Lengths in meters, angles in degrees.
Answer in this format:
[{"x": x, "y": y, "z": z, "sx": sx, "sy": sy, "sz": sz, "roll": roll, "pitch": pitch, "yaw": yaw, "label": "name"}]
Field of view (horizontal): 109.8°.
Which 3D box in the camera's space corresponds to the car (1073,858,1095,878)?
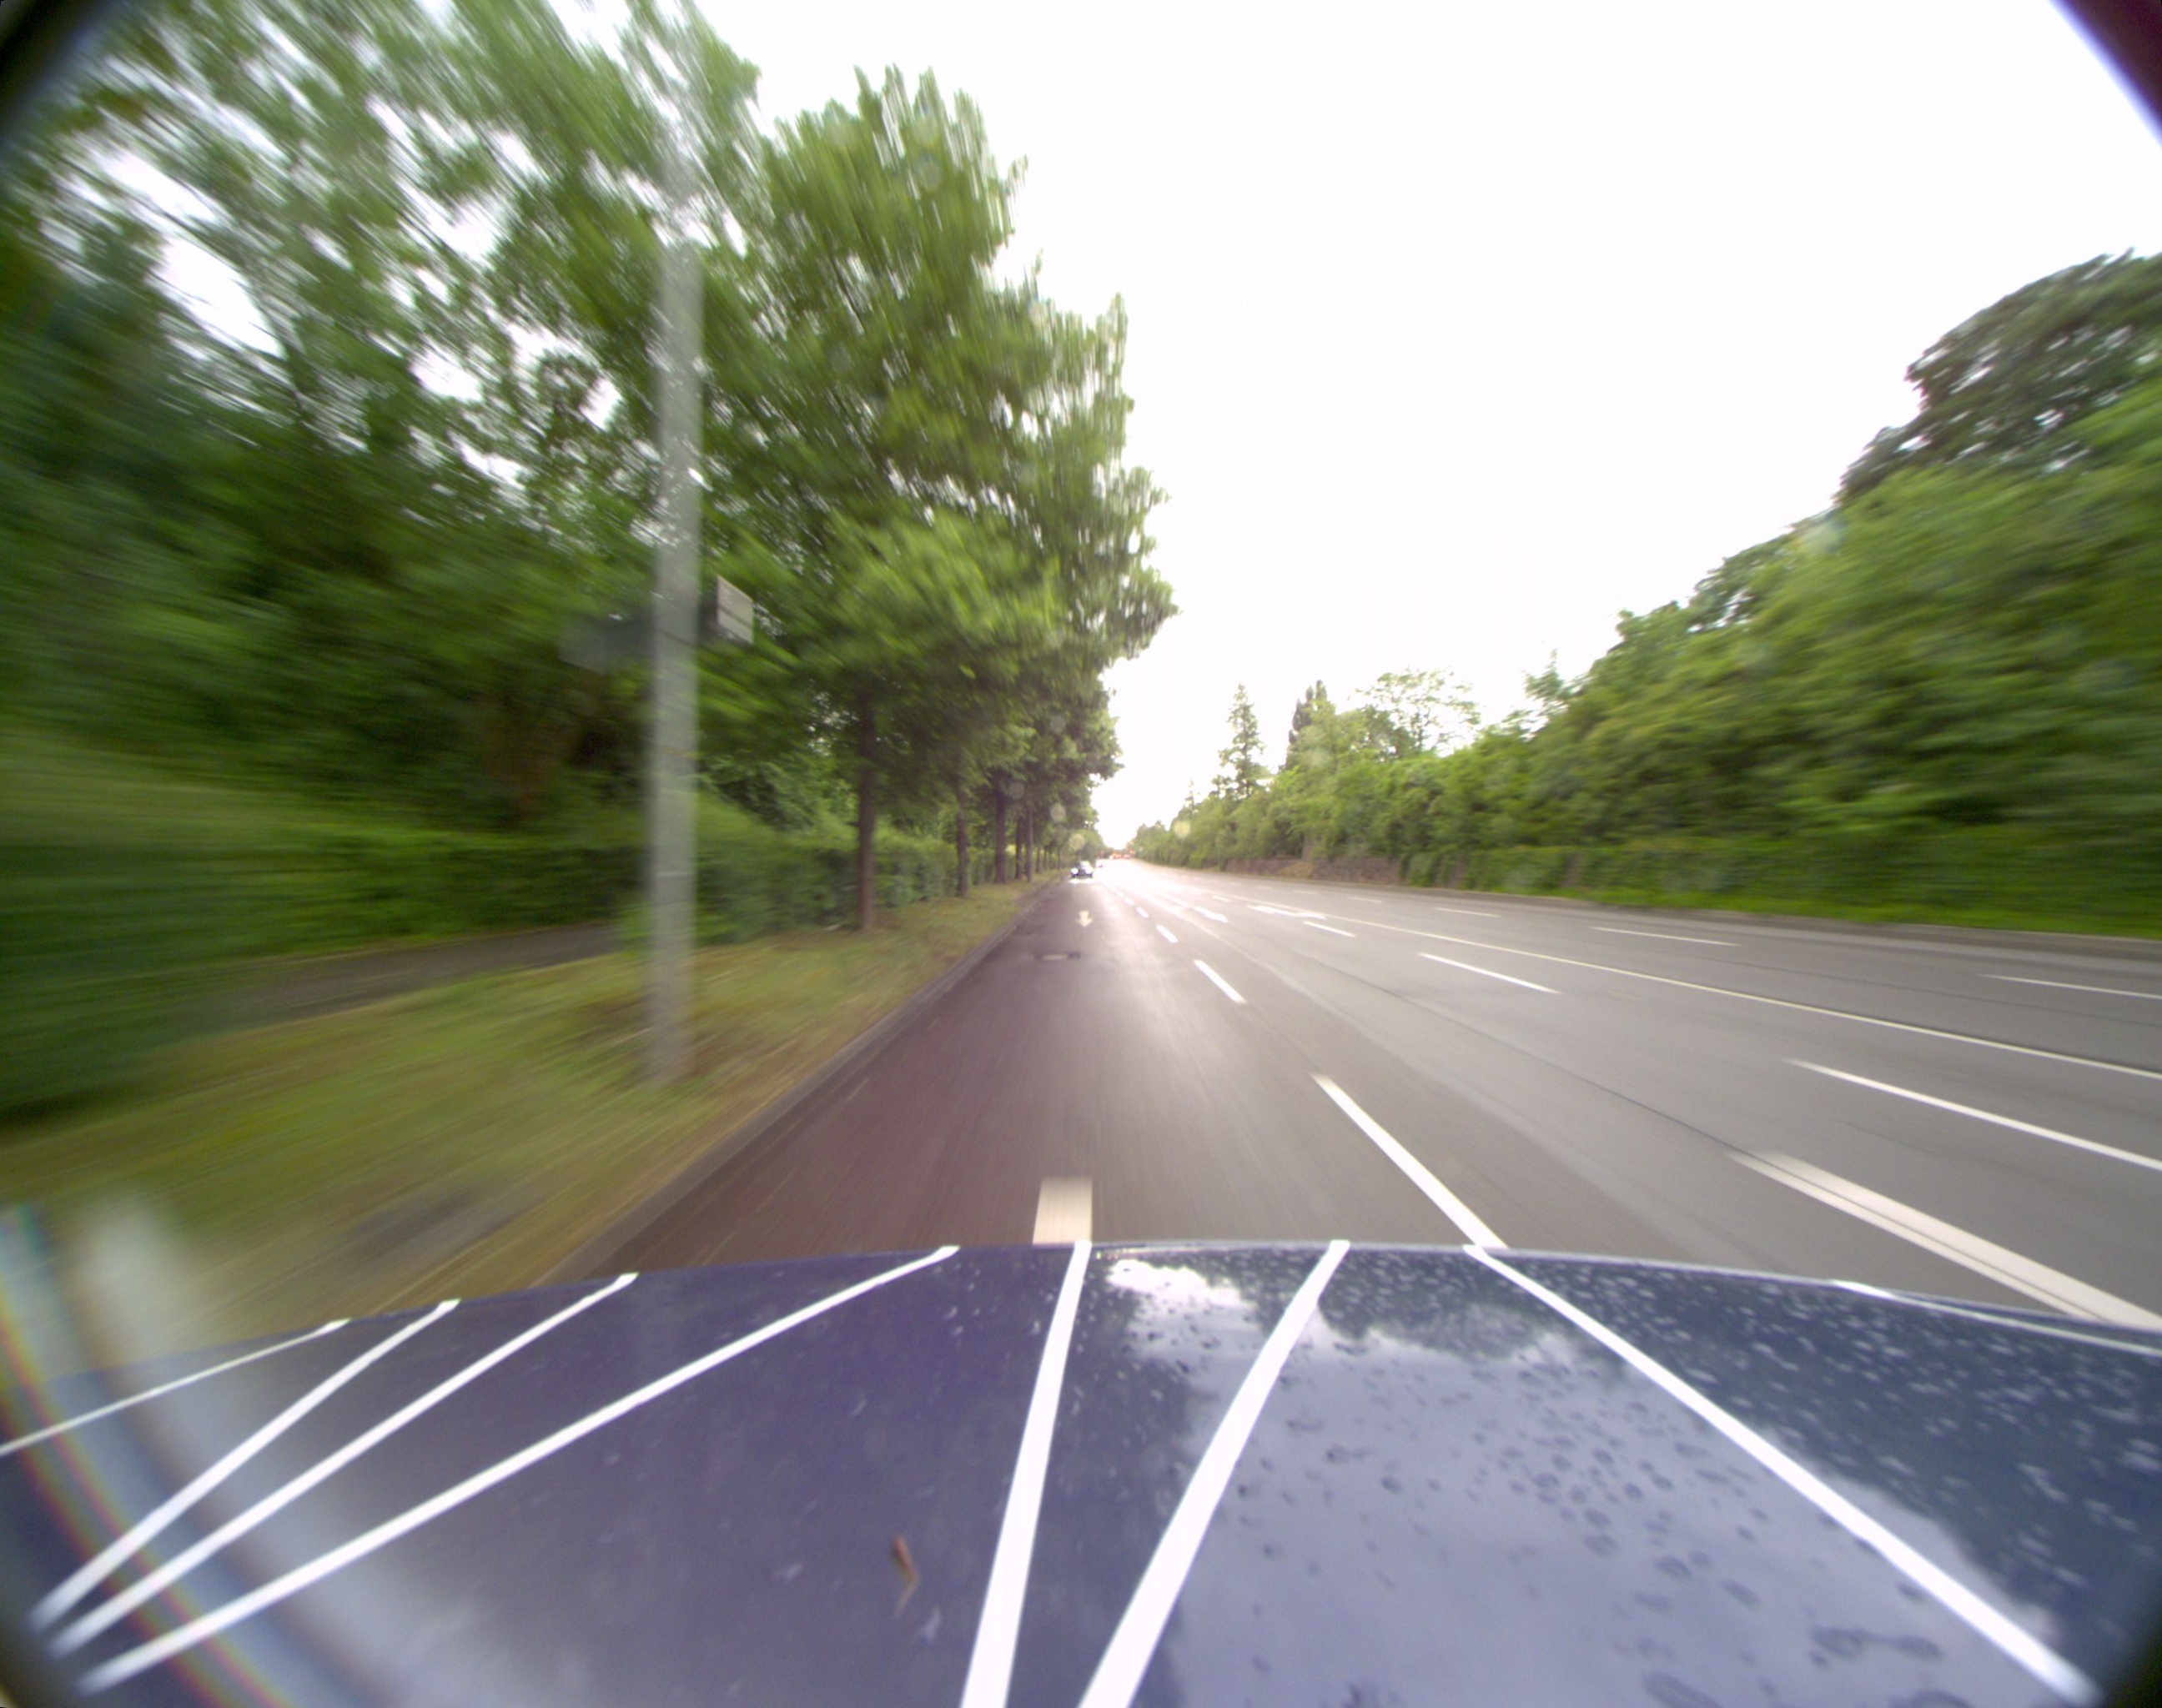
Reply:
[{"x": 0.274, "y": 1.193, "z": 65.233, "sx": 1.824, "sy": 1.547, "sz": 4.000, "roll": -2, "pitch": 1, "yaw": 1, "label": "car"}]
